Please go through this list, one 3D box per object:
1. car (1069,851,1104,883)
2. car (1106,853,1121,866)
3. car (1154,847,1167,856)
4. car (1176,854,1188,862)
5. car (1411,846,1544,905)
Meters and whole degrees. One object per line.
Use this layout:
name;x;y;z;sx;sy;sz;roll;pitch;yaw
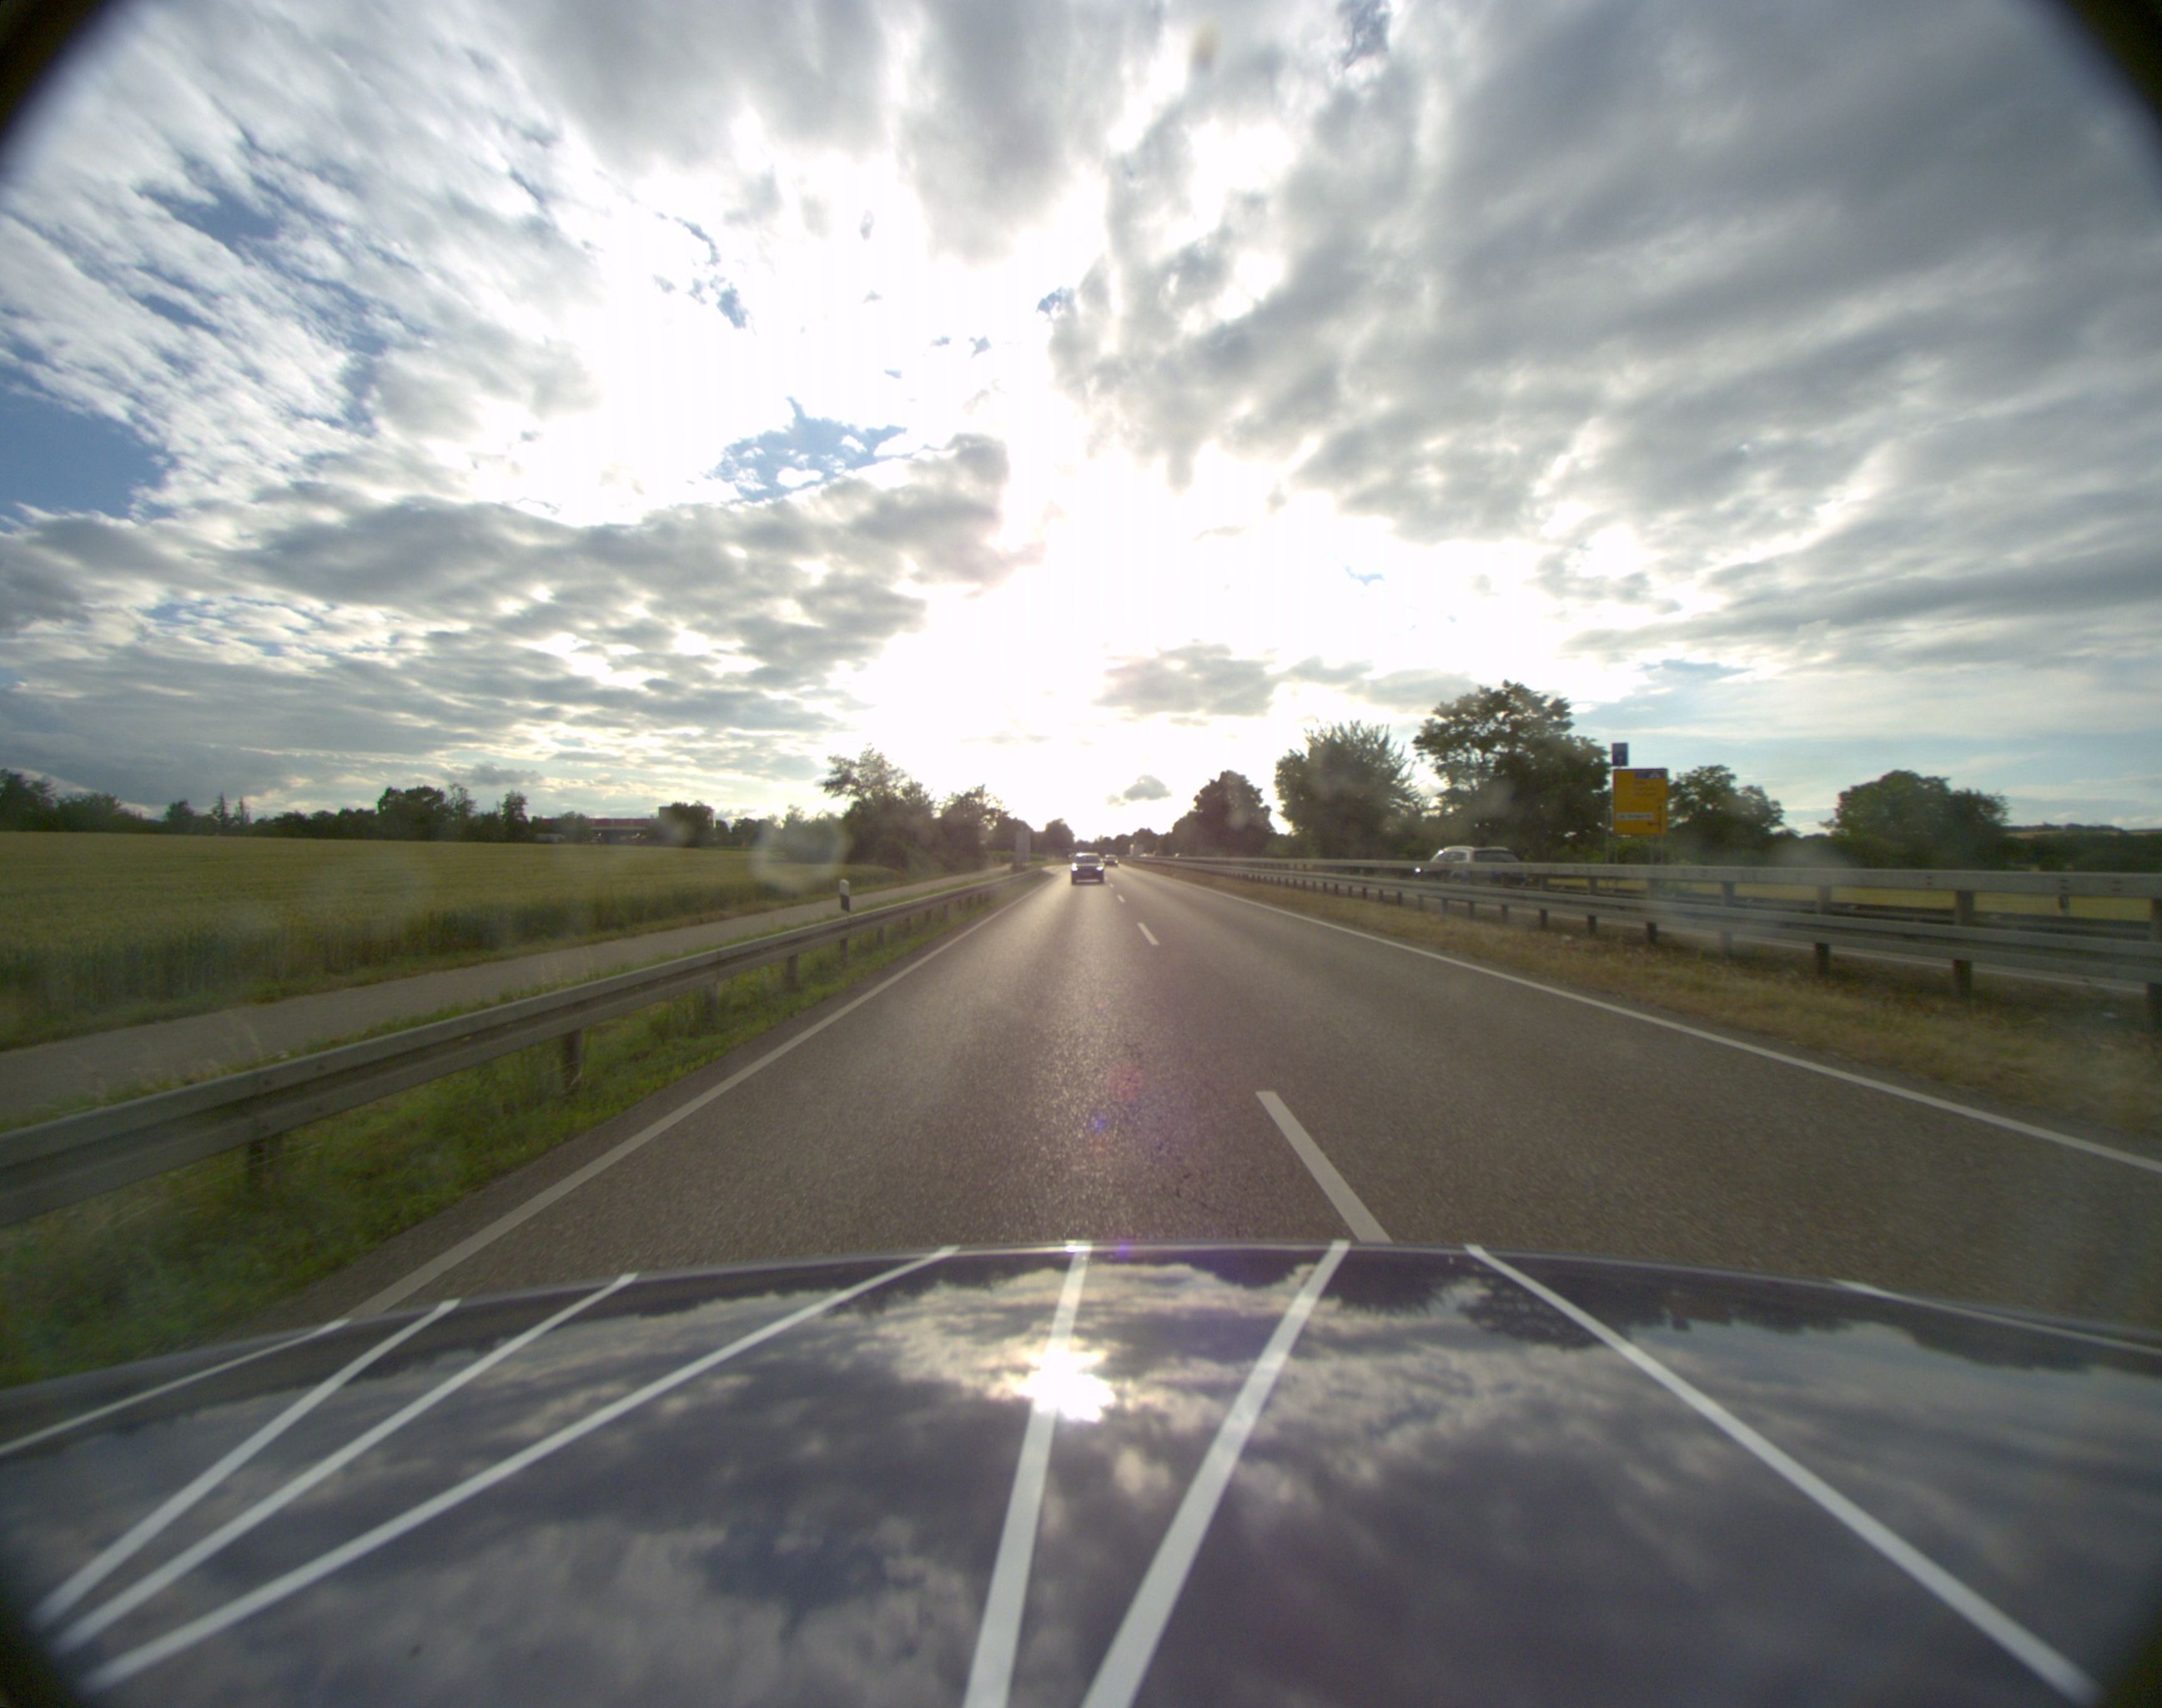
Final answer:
car;0.362;0.717;43.320;1.863;1.636;4.000;-2;1;1
car;3.990;0.669;94.765;1.775;1.389;4.000;-2;1;1
car;13.948;-0.497;133.928;1.937;1.626;4.376;0;1;1
car;17.397;0.646;130.820;1.605;1.371;3.471;-2;1;1
car;12.001;0.571;23.375;1.802;1.605;4.376;2;1;1
